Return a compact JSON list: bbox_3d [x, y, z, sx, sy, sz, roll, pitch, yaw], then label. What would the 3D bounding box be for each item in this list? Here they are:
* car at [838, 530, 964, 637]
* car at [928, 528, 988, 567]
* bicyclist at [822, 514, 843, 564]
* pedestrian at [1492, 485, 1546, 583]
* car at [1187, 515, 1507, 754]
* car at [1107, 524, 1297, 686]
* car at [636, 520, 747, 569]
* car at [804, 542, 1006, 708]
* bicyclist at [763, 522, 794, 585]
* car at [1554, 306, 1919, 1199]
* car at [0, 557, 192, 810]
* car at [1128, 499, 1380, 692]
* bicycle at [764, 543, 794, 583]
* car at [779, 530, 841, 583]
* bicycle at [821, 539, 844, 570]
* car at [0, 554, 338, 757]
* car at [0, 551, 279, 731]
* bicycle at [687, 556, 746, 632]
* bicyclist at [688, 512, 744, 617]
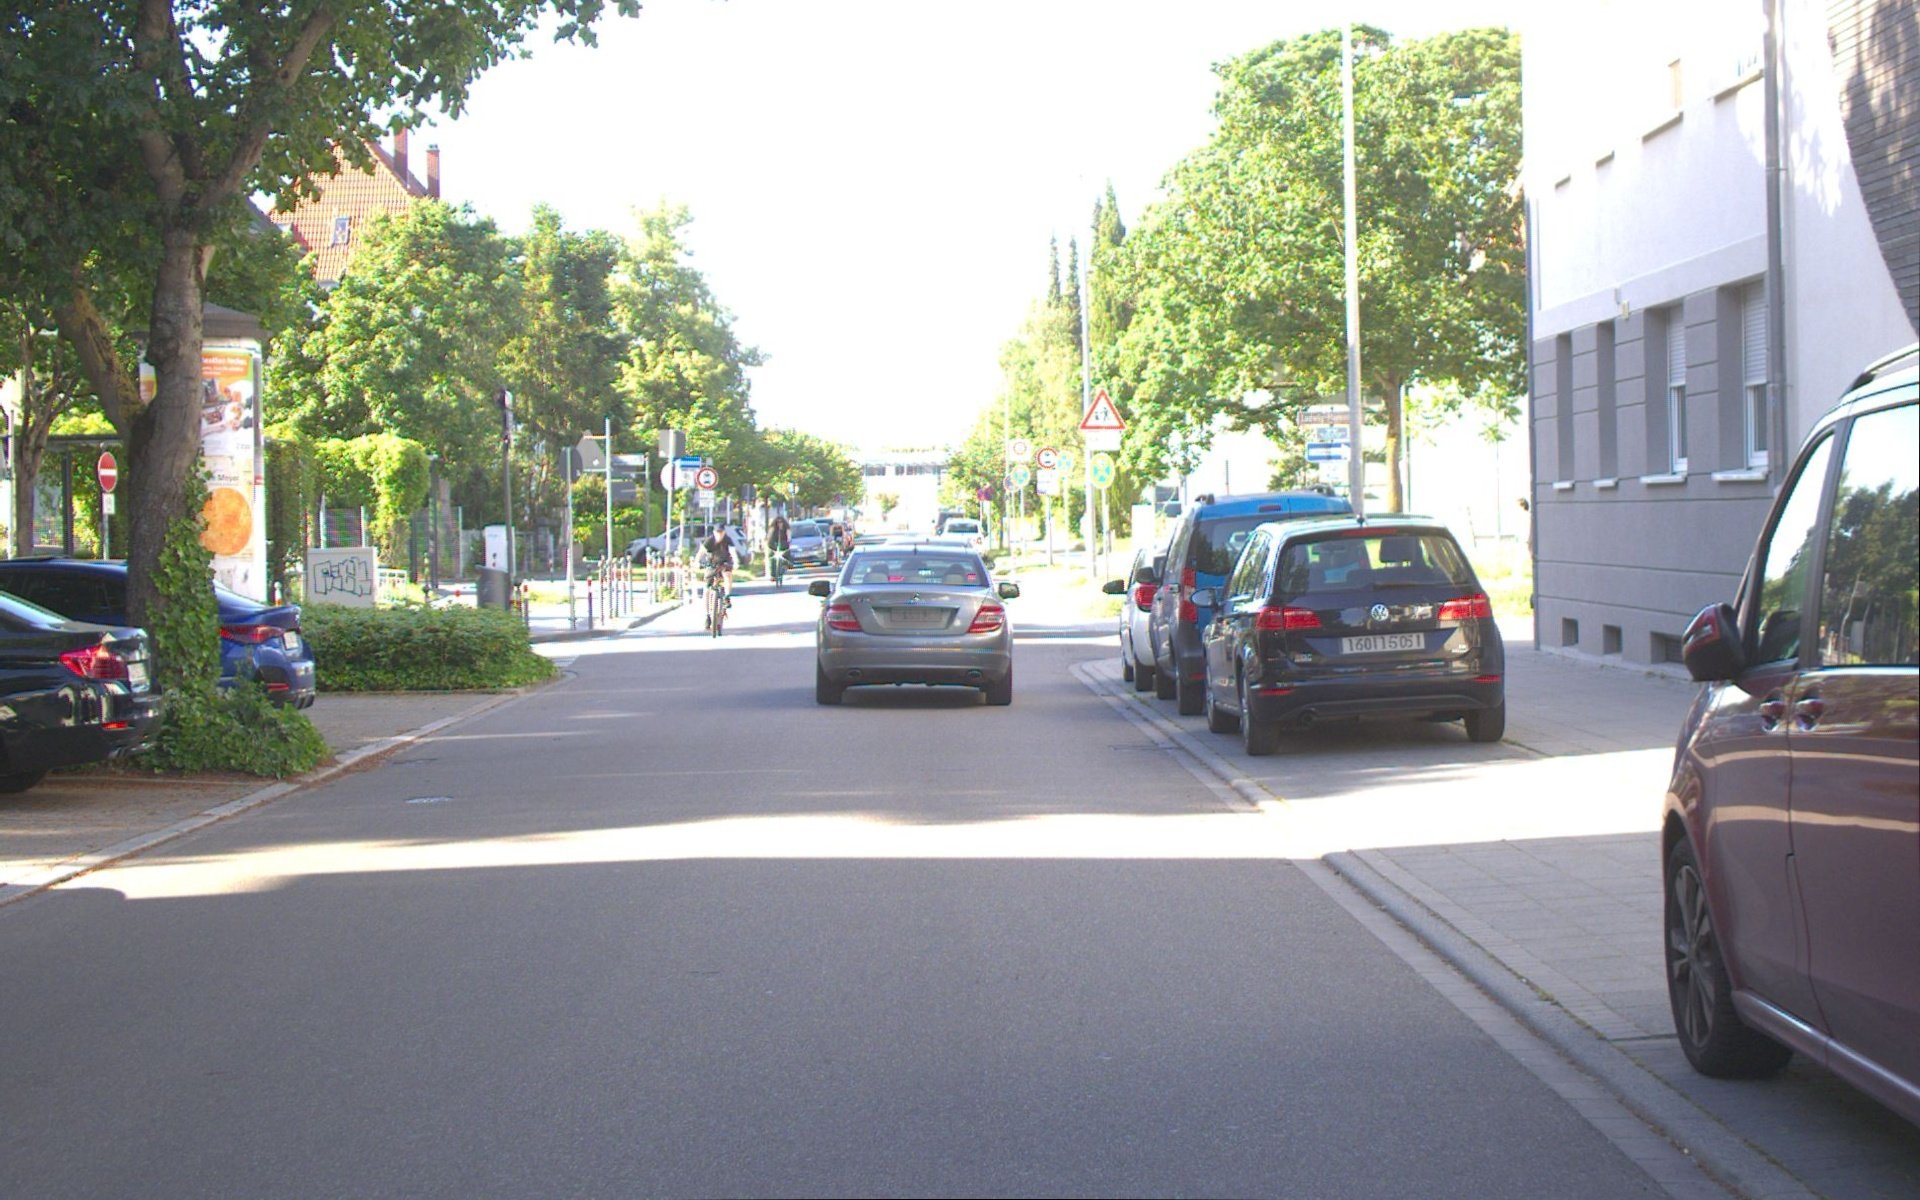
[{"bbox_3d":[-0.858,-0.237,49.121,1.707,1.443,4.203,1,0,-1],"label":"car"},{"bbox_3d":[-0.084,-1.838,119.246,1.722,1.325,4.001,-1,1,-5],"label":"car"},{"bbox_3d":[-3.868,-1.861,104.374,0.572,1.504,0.655,-1,1,1],"label":"bicyclist"},{"bbox_3d":[9.400,-1.105,57.791,0.647,1.617,0.616,-1,1,38],"label":"pedestrian"},{"bbox_3d":[2.645,0.182,24.346,1.737,1.526,4.179,-1,1,-1],"label":"car"},{"bbox_3d":[2.373,0.039,34.487,1.564,1.406,3.729,-5,0,1],"label":"car"},{"bbox_3d":[-8.728,-1.798,111.500,3.493,1.528,1.645,-1,1,-7],"label":"car"},{"bbox_3d":[-0.467,0.212,31.738,1.726,1.415,3.960,1,0,0],"label":"car"},{"bbox_3d":[-4.418,-1.134,83.757,0.680,1.504,0.655,-1,1,1],"label":"bicyclist"},{"bbox_3d":[2.734,0.360,7.712,1.871,1.898,5.197,-2,1,1],"label":"car"},{"bbox_3d":[-7.097,0.487,20.918,4.473,1.474,1.869,0,0,-2],"label":"car"},{"bbox_3d":[2.501,-0.038,30.122,1.682,1.430,4.266,-5,0,-1],"label":"car"},{"bbox_3d":[-4.410,-0.914,83.754,0.589,0.928,1.850,-1,1,1],"label":"bicycle"},{"bbox_3d":[-5.103,-1.493,116.511,1.872,1.722,4.001,-1,1,-5],"label":"car"},{"bbox_3d":[-3.858,-1.388,104.365,0.589,0.928,1.850,-1,1,1],"label":"bicycle"},{"bbox_3d":[-7.076,0.399,25.942,4.473,1.474,1.869,0,0,-2],"label":"car"},{"bbox_3d":[-7.629,0.326,28.623,3.579,1.425,1.731,0,1,-1],"label":"car"},{"bbox_3d":[-3.636,-0.102,51.450,0.719,1.075,1.891,-2,1,0],"label":"bicycle"},{"bbox_3d":[-3.651,-0.539,51.535,0.721,1.531,1.137,-2,1,0],"label":"bicyclist"}]
